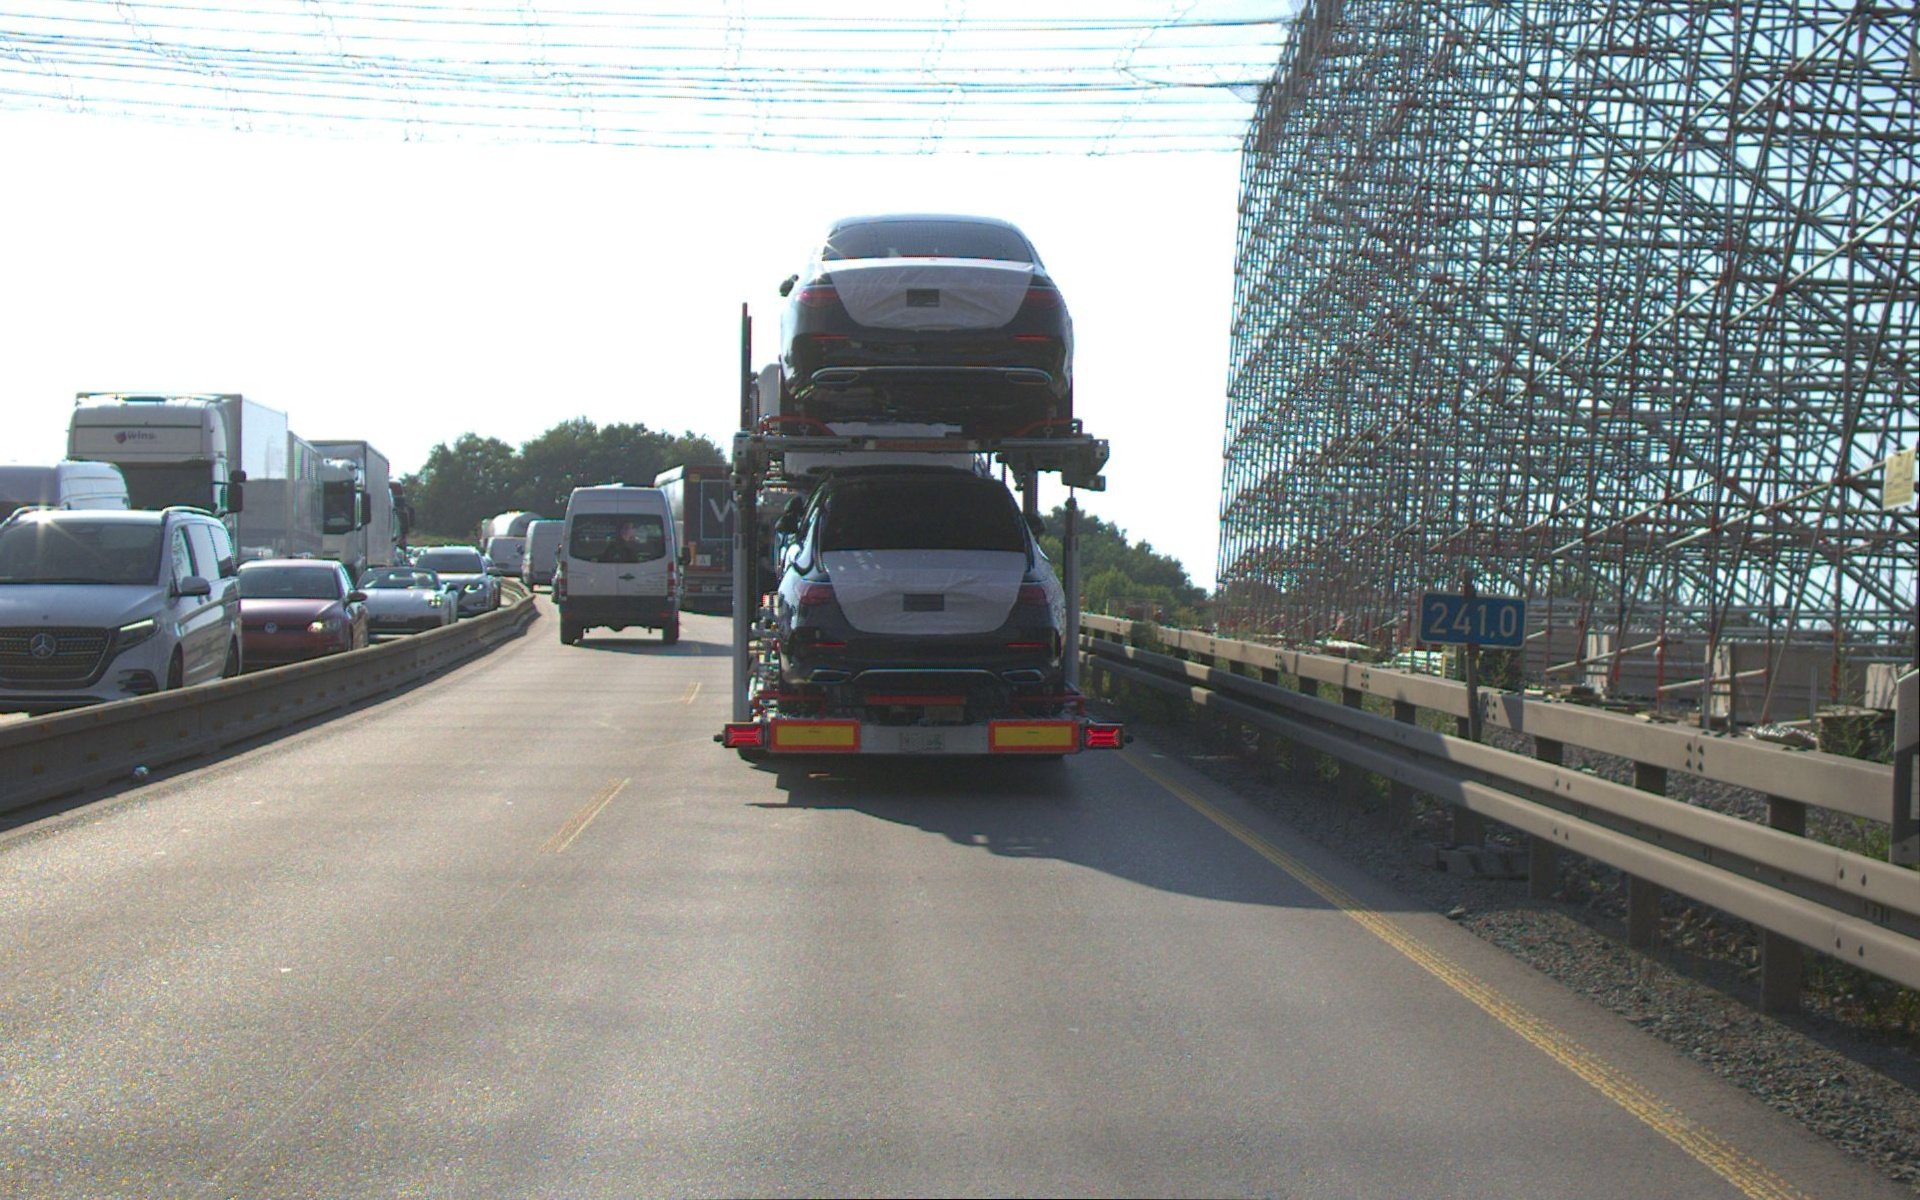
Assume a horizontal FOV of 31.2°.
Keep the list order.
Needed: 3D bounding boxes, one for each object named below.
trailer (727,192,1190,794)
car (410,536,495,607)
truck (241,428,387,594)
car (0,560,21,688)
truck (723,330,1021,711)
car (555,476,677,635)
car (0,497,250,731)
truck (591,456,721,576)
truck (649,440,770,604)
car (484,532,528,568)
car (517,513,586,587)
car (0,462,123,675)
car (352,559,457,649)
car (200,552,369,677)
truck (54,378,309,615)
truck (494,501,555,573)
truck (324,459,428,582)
[{"bbox_3d":[-0.493,-0.691,28.737,2.868,3.712,14.949,0,0,-4],"label":"trailer"},{"bbox_3d":[-10.886,-0.632,73.590,1.701,1.448,4.001,1,1,-9],"label":"car"},{"bbox_3d":[-14.762,-1.986,79.287,2.594,3.462,12.395,1,1,-8],"label":"truck"},{"bbox_3d":[-10.643,0.254,34.462,1.582,1.327,4.000,0,0,-3],"label":"car"},{"bbox_3d":[-1.020,-0.783,36.968,2.881,3.690,7.326,0,0,-3],"label":"truck"},{"bbox_3d":[-5.848,-0.727,58.771,1.956,2.612,4.000,-1,0,-4],"label":"car"},{"bbox_3d":[-7.542,0.081,30.104,1.836,1.887,4.000,1,1,-1],"label":"car"},{"bbox_3d":[-11.839,-3.132,132.604,3.686,4.206,13.671,-3,1,-10],"label":"truck"},{"bbox_3d":[-7.275,-2.195,98.543,2.731,4.371,11.524,1,1,-7],"label":"truck"},{"bbox_3d":[-20.507,-2.253,155.494,1.710,1.612,3.503,0,0,-3],"label":"car"},{"bbox_3d":[-14.836,-1.820,124.696,1.993,2.570,4.001,1,1,-13],"label":"car"},{"bbox_3d":[-11.811,-0.423,43.181,1.993,2.532,4.001,1,1,-7],"label":"car"},{"bbox_3d":[-9.597,0.040,59.352,1.701,1.448,4.001,1,1,-9],"label":"car"},{"bbox_3d":[-8.432,0.152,43.154,1.836,1.448,4.001,1,1,-8],"label":"car"},{"bbox_3d":[-12.755,-1.638,57.353,2.594,3.462,12.394,1,1,-6],"label":"truck"},{"bbox_3d":[-23.499,-3.401,185.349,2.615,3.711,9.662,1,1,-11],"label":"truck"},{"bbox_3d":[-17.626,-2.364,104.352,2.594,3.462,12.395,1,1,-8],"label":"truck"}]
